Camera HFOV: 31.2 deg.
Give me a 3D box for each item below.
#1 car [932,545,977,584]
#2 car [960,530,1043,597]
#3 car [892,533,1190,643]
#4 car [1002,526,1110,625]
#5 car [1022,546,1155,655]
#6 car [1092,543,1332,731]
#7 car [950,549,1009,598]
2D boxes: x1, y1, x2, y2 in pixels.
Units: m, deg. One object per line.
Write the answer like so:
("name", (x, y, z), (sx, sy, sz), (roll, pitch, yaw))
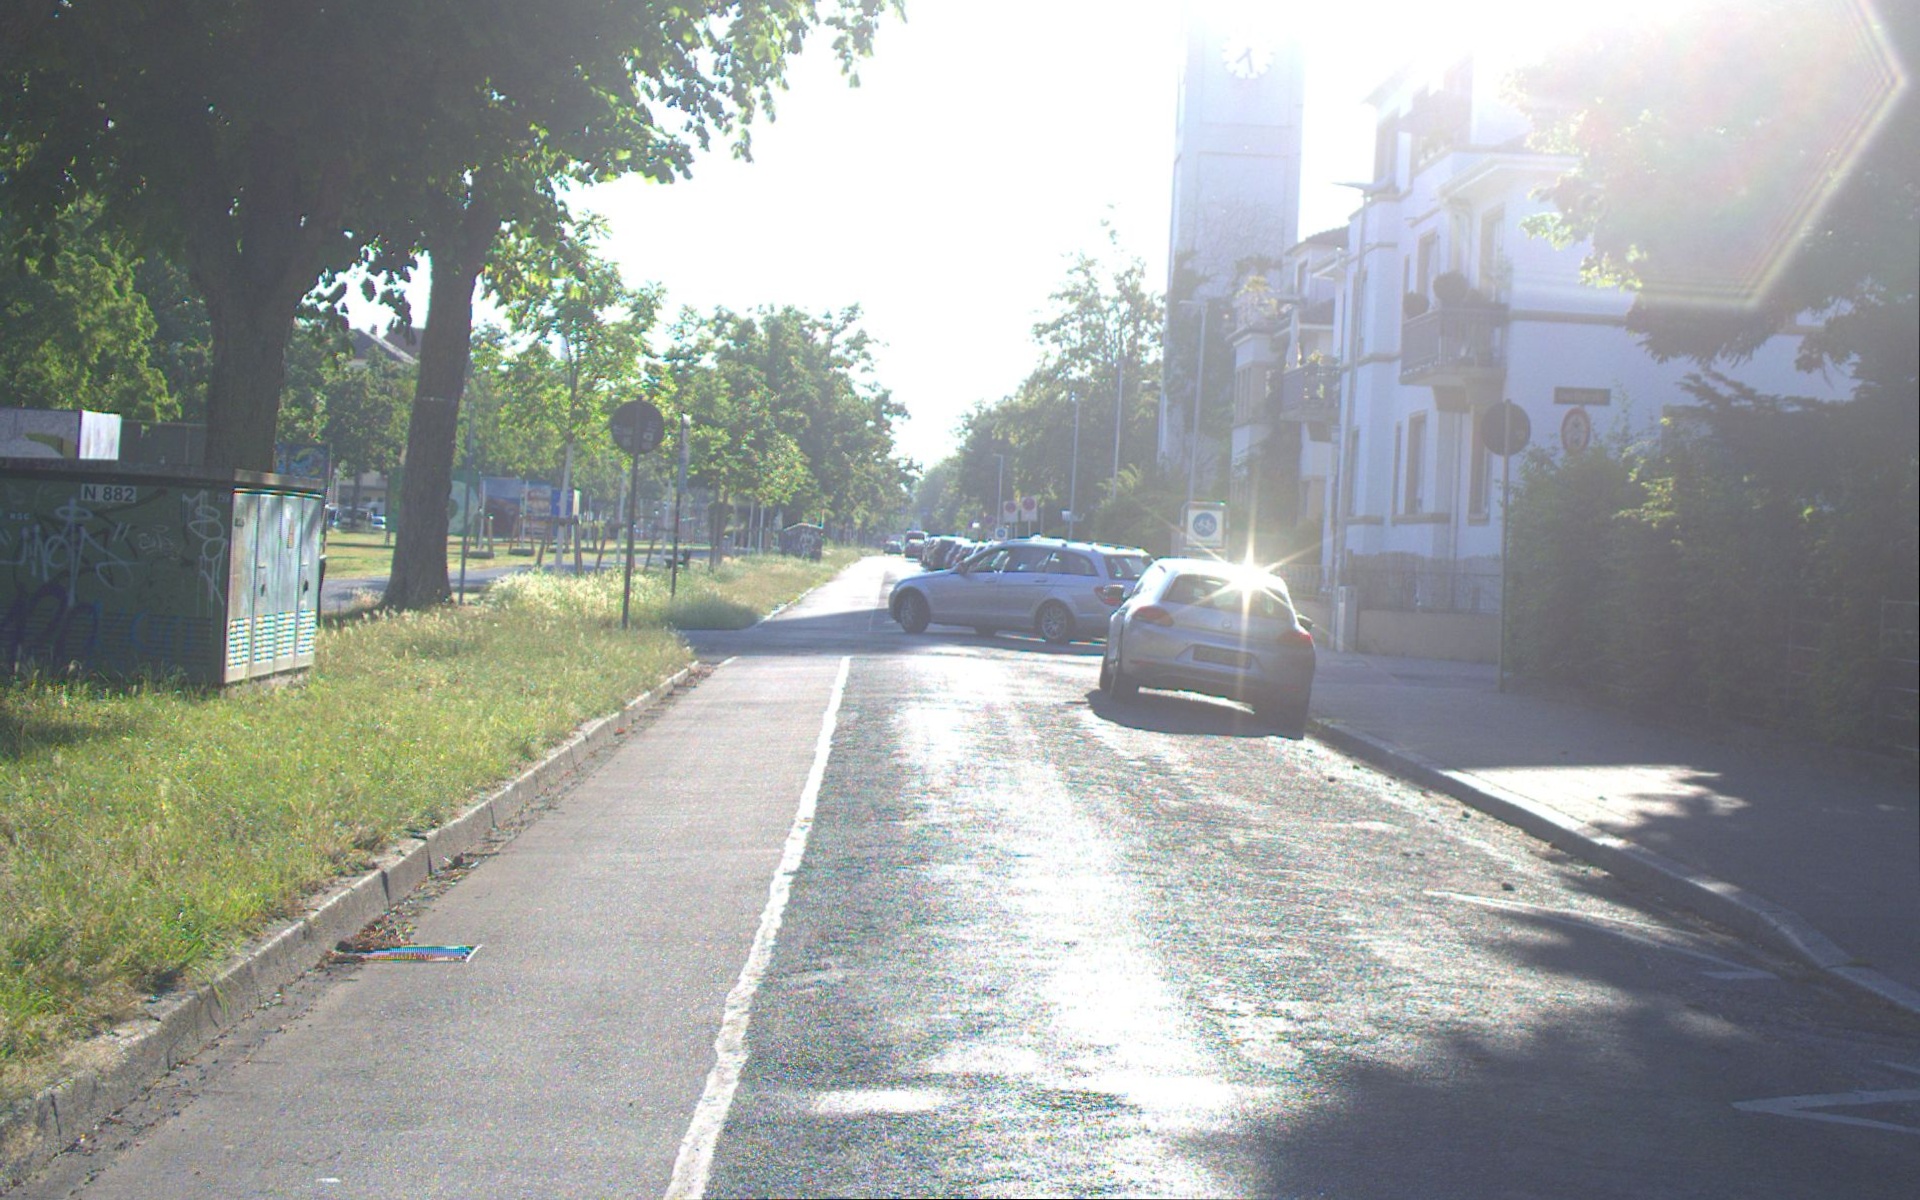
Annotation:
("car", (-0.245, -1.650, 157.931), (1.980, 1.677, 4.000), (3, 1, 0))
("car", (1.024, -0.928, 86.620), (1.761, 1.516, 4.001), (4, 1, -2))
("car", (1.123, -0.207, 49.033), (3.996, 1.415, 1.762), (3, 2, 40))
("car", (1.715, -0.475, 62.570), (1.685, 1.645, 4.100), (3, 1, -1))
("car", (2.039, -0.030, 55.781), (1.758, 1.599, 4.359), (3, 1, -2))
("car", (2.332, 0.300, 32.729), (1.757, 1.415, 4.072), (9, 1, -1))
("car", (0.685, -0.970, 123.456), (1.993, 1.624, 4.000), (3, 1, 0))
